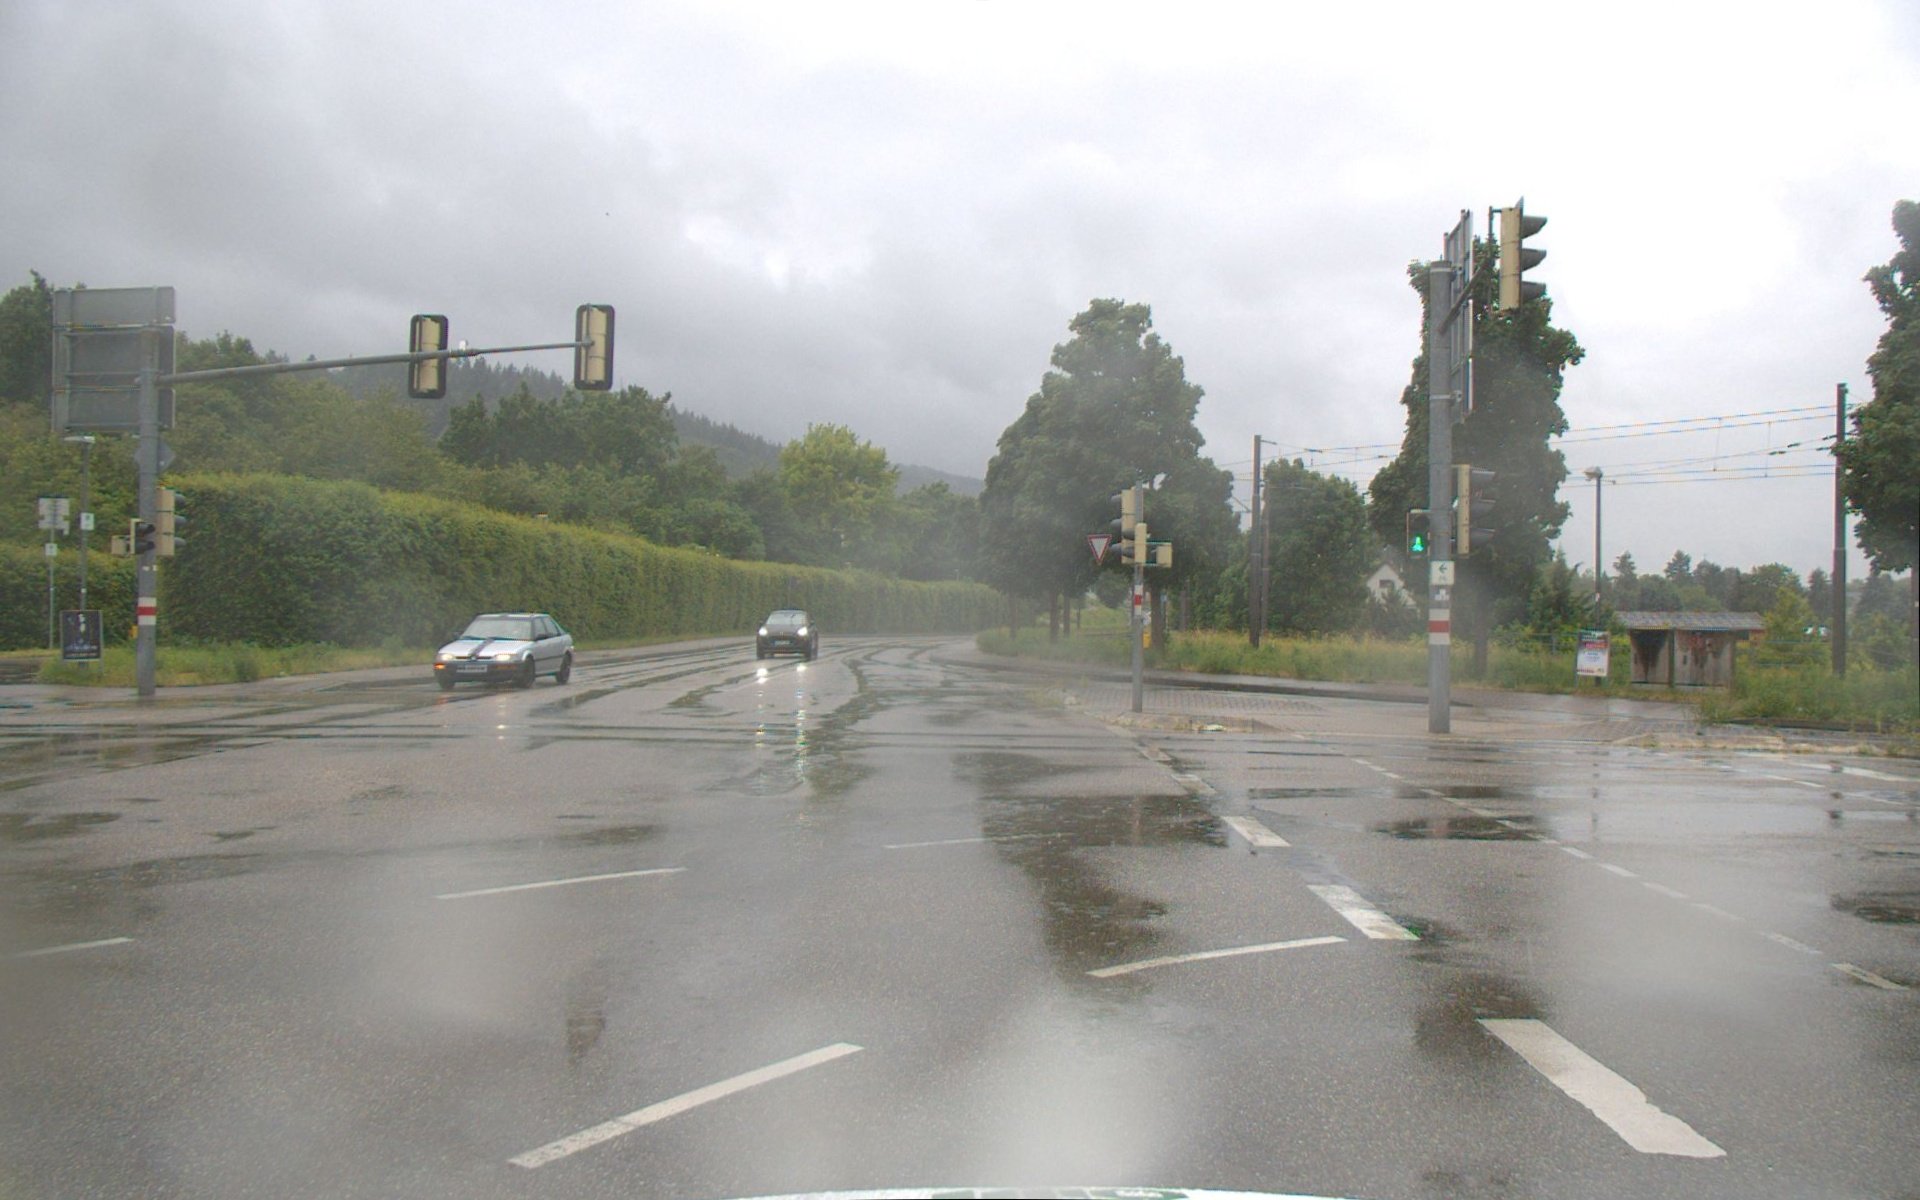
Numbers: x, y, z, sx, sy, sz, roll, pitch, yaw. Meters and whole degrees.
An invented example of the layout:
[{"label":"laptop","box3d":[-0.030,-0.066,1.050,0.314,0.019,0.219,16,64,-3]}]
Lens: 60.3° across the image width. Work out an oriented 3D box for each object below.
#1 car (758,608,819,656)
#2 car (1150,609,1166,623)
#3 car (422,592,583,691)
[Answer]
[{"label":"car","box3d":[-5.684,1.034,55.222,1.749,1.531,4.059,0,0,-2]},{"label":"car","box3d":[27.880,2.266,232.879,1.912,1.937,4.123,0,0,13]},{"label":"car","box3d":[-8.707,0.744,31.846,1.995,1.738,4.065,1,0,-1]}]
